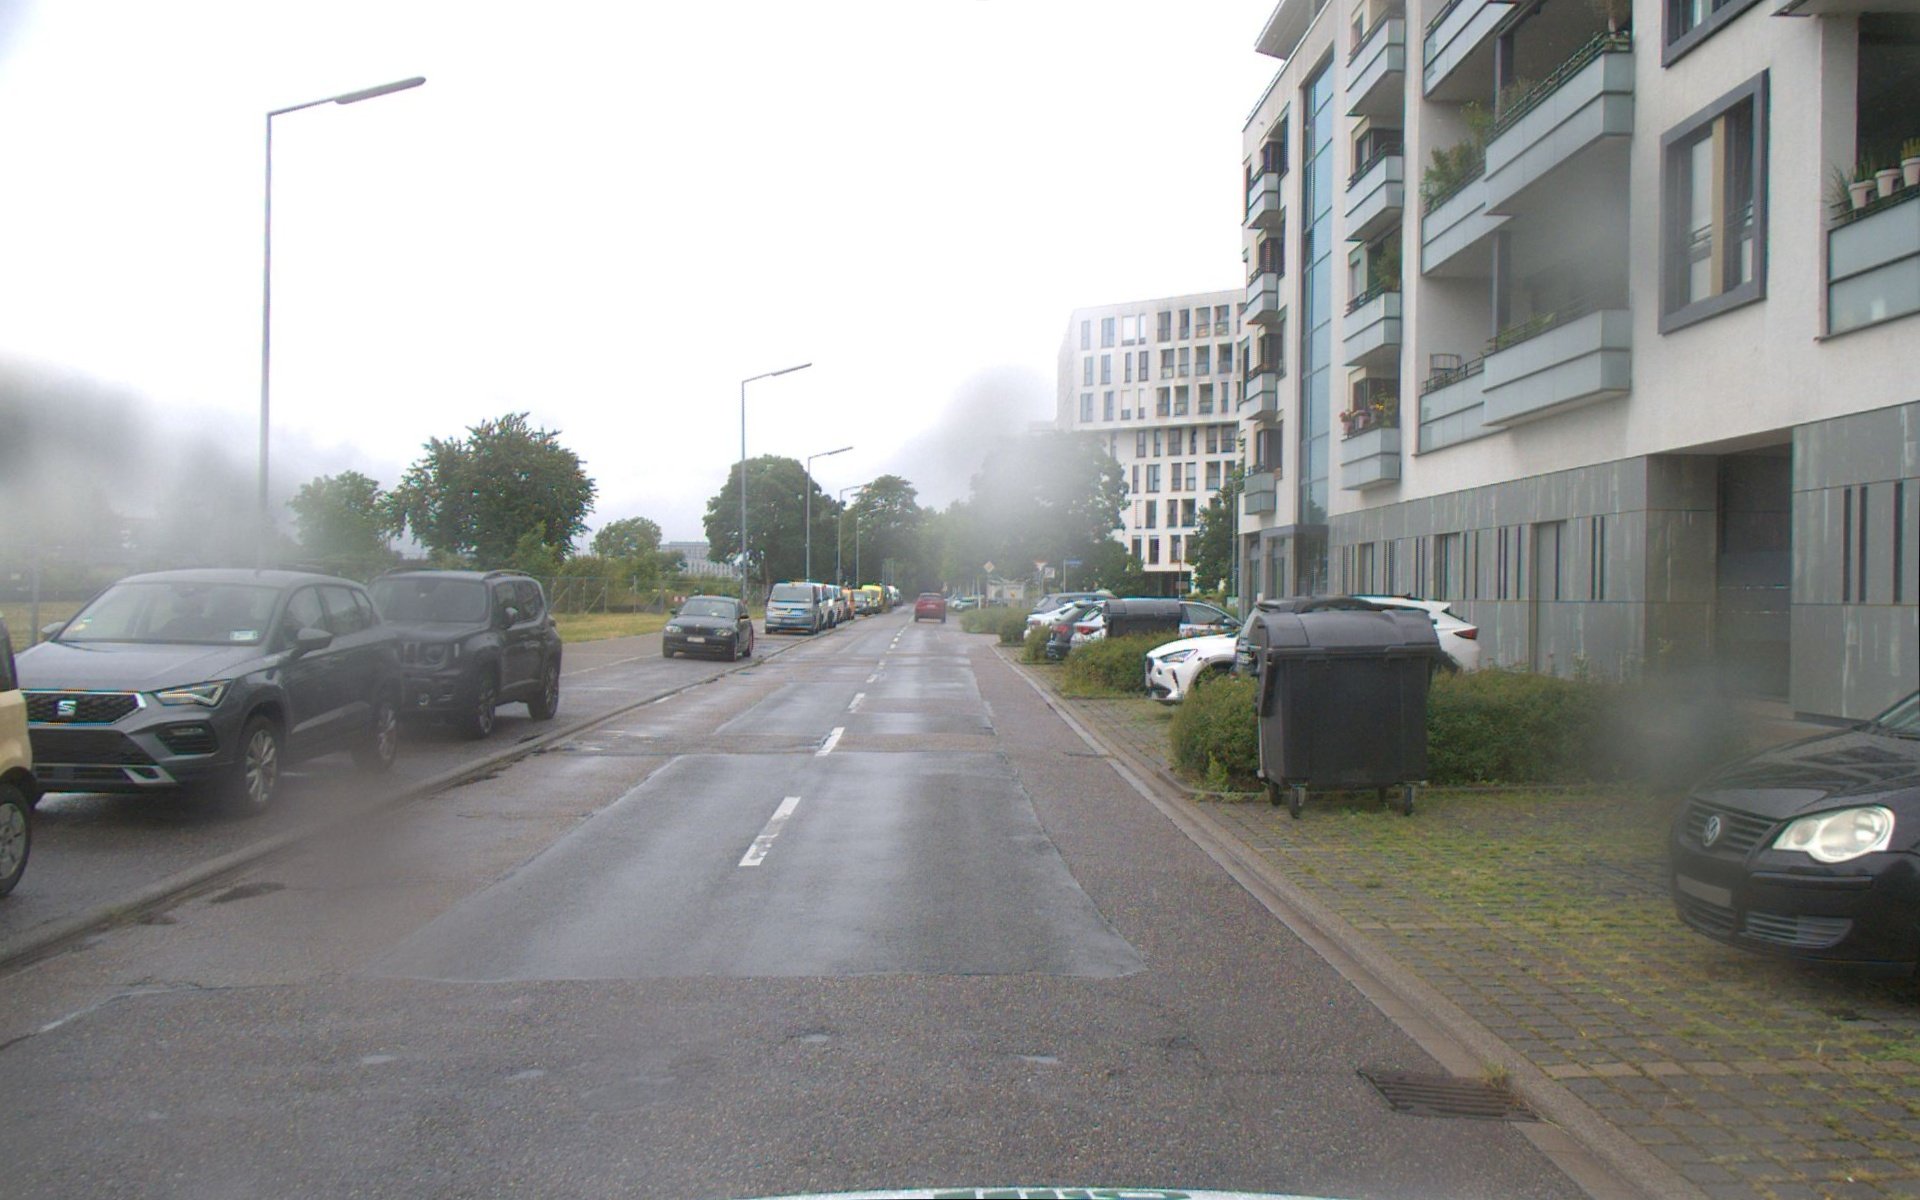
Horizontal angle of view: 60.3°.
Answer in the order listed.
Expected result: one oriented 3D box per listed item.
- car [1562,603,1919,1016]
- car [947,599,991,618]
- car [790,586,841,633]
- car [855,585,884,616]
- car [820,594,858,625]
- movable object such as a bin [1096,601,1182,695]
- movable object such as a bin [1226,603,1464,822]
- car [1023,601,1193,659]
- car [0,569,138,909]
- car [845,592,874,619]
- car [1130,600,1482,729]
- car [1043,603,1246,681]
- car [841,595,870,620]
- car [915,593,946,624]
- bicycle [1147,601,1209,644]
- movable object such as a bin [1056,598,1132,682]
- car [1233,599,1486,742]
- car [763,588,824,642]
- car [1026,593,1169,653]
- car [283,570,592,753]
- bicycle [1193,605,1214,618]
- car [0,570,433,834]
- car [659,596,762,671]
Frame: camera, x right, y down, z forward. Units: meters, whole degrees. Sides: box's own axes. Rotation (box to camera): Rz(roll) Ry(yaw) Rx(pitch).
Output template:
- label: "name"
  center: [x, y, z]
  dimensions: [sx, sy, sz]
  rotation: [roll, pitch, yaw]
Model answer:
- label: "car"
  center: [4.809, 0.774, 7.148]
  dimensions: [3.767, 1.517, 1.762]
  rotation: [-1, 0, -1]
- label: "car"
  center: [0.918, 0.868, 172.729]
  dimensions: [4.450, 1.714, 1.884]
  rotation: [-4, 0, -4]
- label: "car"
  center: [-6.748, 0.430, 77.687]
  dimensions: [1.920, 2.094, 5.273]
  rotation: [2, 0, -1]
- label: "car"
  center: [-8.403, 0.044, 154.129]
  dimensions: [2.147, 2.741, 6.081]
  rotation: [3, 0, 0]
- label: "car"
  center: [-7.328, 0.559, 100.550]
  dimensions: [1.900, 1.798, 4.331]
  rotation: [1, 0, 0]
- label: "movable object such as a bin"
  center: [3.077, 0.812, 28.658]
  dimensions: [1.274, 1.553, 1.581]
  rotation: [-1, 0, -1]
- label: "movable object such as a bin"
  center: [2.853, 0.805, 12.422]
  dimensions: [1.465, 1.519, 1.155]
  rotation: [-2, 0, -1]
- label: "car"
  center: [3.926, 0.782, 44.310]
  dimensions: [4.320, 1.429, 1.910]
  rotation: [-1, 0, -2]
- label: "car"
  center: [-5.327, 0.634, 7.021]
  dimensions: [1.691, 1.602, 4.208]
  rotation: [1, -1, -3]
- label: "car"
  center: [-7.855, 0.426, 130.182]
  dimensions: [1.976, 1.990, 6.063]
  rotation: [3, 0, -1]
- label: "car"
  center: [4.523, 0.822, 22.050]
  dimensions: [4.258, 1.557, 1.892]
  rotation: [-1, 0, -2]
- label: "car"
  center: [3.784, 0.844, 34.456]
  dimensions: [3.978, 1.523, 2.057]
  rotation: [-1, 0, -1]
- label: "car"
  center: [-7.376, 0.514, 117.492]
  dimensions: [1.767, 1.588, 4.032]
  rotation: [4, 0, -1]
- label: "car"
  center: [-1.759, 0.462, 96.475]
  dimensions: [1.721, 1.735, 3.998]
  rotation: [1, 0, -2]
- label: "bicycle"
  center: [7.849, 0.801, 59.563]
  dimensions: [2.142, 1.549, 0.631]
  rotation: [0, 0, 19]
- label: "movable object such as a bin"
  center: [2.544, 0.743, 31.654]
  dimensions: [1.274, 1.553, 1.581]
  rotation: [-1, 0, -1]
- label: "car"
  center: [4.589, 0.779, 19.153]
  dimensions: [2.574, 1.533, 1.205]
  rotation: [-1, 0, -8]
- label: "car"
  center: [-6.403, 0.555, 64.047]
  dimensions: [1.916, 1.935, 4.993]
  rotation: [1, 0, -1]
- label: "car"
  center: [4.051, 0.672, 49.211]
  dimensions: [4.007, 1.652, 1.965]
  rotation: [-1, 0, -3]
- label: "car"
  center: [-5.556, 0.579, 18.295]
  dimensions: [1.716, 1.722, 4.882]
  rotation: [1, 0, 2]
- label: "bicycle"
  center: [19.139, 0.908, 130.022]
  dimensions: [0.711, 1.051, 2.064]
  rotation: [0, 0, 38]
- label: "car"
  center: [-5.443, 0.628, 12.373]
  dimensions: [1.717, 1.618, 4.132]
  rotation: [1, 0, -1]
- label: "car"
  center: [-5.888, 0.760, 39.502]
  dimensions: [1.810, 1.588, 4.151]
  rotation: [3, 0, -1]
